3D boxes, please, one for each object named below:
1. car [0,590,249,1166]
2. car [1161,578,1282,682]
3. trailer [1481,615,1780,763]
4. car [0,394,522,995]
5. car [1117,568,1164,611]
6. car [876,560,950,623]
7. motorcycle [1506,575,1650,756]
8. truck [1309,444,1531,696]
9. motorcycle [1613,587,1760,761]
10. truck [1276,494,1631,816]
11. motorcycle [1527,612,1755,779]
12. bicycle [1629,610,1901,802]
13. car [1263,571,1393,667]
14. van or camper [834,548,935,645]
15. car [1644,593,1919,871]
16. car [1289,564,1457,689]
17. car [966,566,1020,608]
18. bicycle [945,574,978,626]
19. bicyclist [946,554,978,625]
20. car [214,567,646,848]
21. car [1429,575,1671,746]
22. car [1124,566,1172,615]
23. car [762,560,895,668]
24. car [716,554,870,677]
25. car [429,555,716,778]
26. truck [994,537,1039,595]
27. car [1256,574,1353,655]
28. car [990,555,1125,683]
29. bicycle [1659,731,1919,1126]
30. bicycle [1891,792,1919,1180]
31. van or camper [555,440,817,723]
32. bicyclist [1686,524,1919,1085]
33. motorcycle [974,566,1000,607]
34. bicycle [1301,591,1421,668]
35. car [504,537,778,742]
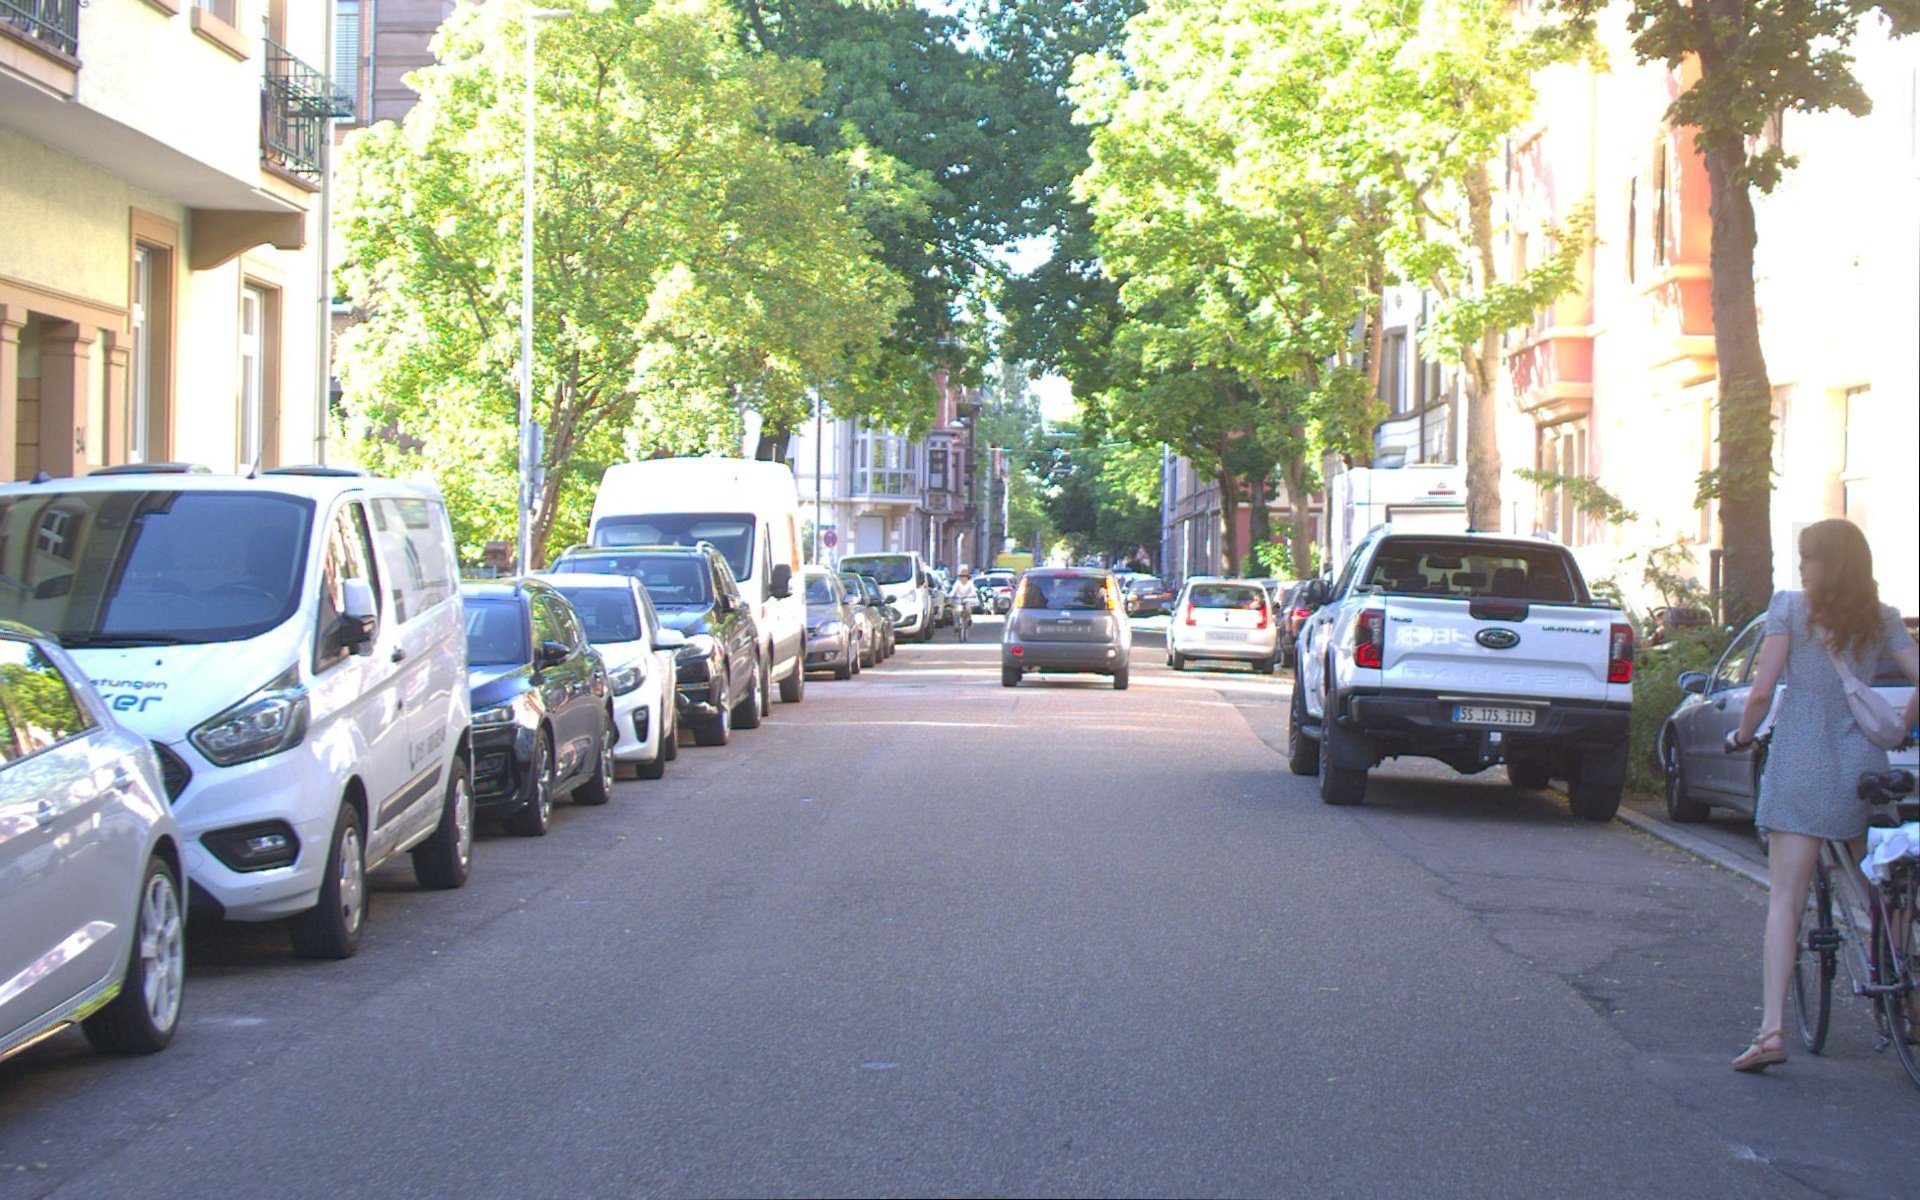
[{"bbox_3d":[-3.379,0.736,9.522,1.833,1.457,4.363,-1,0,1],"label":"car"},{"bbox_3d":[4.202,0.455,55.763,1.679,1.539,3.800,2,1,1],"label":"car"},{"bbox_3d":[5.440,0.716,27.963,2.079,1.108,1.116,1,1,-12],"label":"trailer"},{"bbox_3d":[-3.411,0.335,15.163,2.251,2.161,5.244,-1,0,0],"label":"car"},{"bbox_3d":[6.770,-0.394,128.862,1.663,1.500,3.756,2,1,3],"label":"car"},{"bbox_3d":[-1.232,-0.234,90.481,1.825,1.548,4.134,-3,0,0],"label":"car"},{"bbox_3d":[5.347,0.541,29.885,0.930,1.481,2.138,2,1,3],"label":"motorcycle"},{"bbox_3d":[5.815,-0.396,44.192,2.073,2.958,6.109,-1,1,1],"label":"truck"},{"bbox_3d":[6.290,0.616,29.876,0.861,1.411,2.234,2,1,3],"label":"motorcycle"},{"bbox_3d":[3.317,0.307,24.113,1.828,1.942,5.540,2,1,2],"label":"truck"},{"bbox_3d":[5.280,0.729,26.621,1.759,1.236,0.702,1,1,-37],"label":"motorcycle"},{"bbox_3d":[5.677,0.740,24.289,1.759,1.301,0.586,1,1,1],"label":"bicycle"},{"bbox_3d":[6.279,0.293,59.005,1.786,1.508,4.460,2,1,1],"label":"car"},{"bbox_3d":[-1.606,-0.097,74.664,1.921,1.973,5.462,-2,0,1],"label":"van or camper"},{"bbox_3d":[5.286,0.696,20.370,1.680,1.417,4.430,0,1,1],"label":"car"},{"bbox_3d":[6.023,0.345,50.606,1.885,1.710,4.944,1,1,0],"label":"car"},{"bbox_3d":[1.228,-0.486,127.054,1.797,1.427,3.924,-2,1,3],"label":"car"},{"bbox_3d":[0.031,-0.005,73.327,0.665,1.073,1.685,1,1,0],"label":"bicycle"},{"bbox_3d":[0.040,-0.223,73.362,0.651,1.503,0.625,1,1,-1],"label":"bicyclist"},{"bbox_3d":[-3.121,0.563,21.211,1.766,1.516,4.825,0,1,2],"label":"car"},{"bbox_3d":[5.656,0.530,33.451,1.751,1.524,4.781,0,1,3],"label":"car"},{"bbox_3d":[6.789,-0.358,124.363,1.663,1.663,3.756,2,1,3],"label":"car"},{"bbox_3d":[-2.023,0.187,53.837,1.676,1.567,4.151,-2,1,3],"label":"car"},{"bbox_3d":[-2.263,0.180,47.637,1.780,1.585,4.469,-1,1,1],"label":"car"},{"bbox_3d":[-2.843,0.458,25.959,1.635,1.546,4.089,0,0,1],"label":"car"},{"bbox_3d":[2.989,-1.771,179.632,2.070,2.916,5.067,-3,0,3],"label":"truck"},{"bbox_3d":[6.513,0.256,65.222,1.597,1.483,3.748,0,0,2],"label":"car"},{"bbox_3d":[1.259,0.213,44.038,1.633,1.545,3.264,1,1,2],"label":"car"},{"bbox_3d":[2.879,1.007,10.917,0.705,1.042,1.858,4,0,-5],"label":"bicycle"},{"bbox_3d":[3.088,1.090,8.822,0.739,1.056,1.858,2,0,-4],"label":"bicycle"},{"bbox_3d":[-2.821,-0.214,36.800,2.128,2.760,5.851,-1,1,2],"label":"van or camper"},{"bbox_3d":[2.873,0.625,10.942,0.714,1.683,0.981,4,0,-7],"label":"bicyclist"},{"bbox_3d":[0.982,-0.477,123.764,0.696,1.456,1.751,0,1,-7],"label":"motorcycle"},{"bbox_3d":[6.347,0.465,54.458,1.811,1.163,0.569,-1,0,1],"label":"bicycle"},{"bbox_3d":[-2.783,0.296,31.030,1.875,1.680,4.969,-1,1,1],"label":"car"}]
